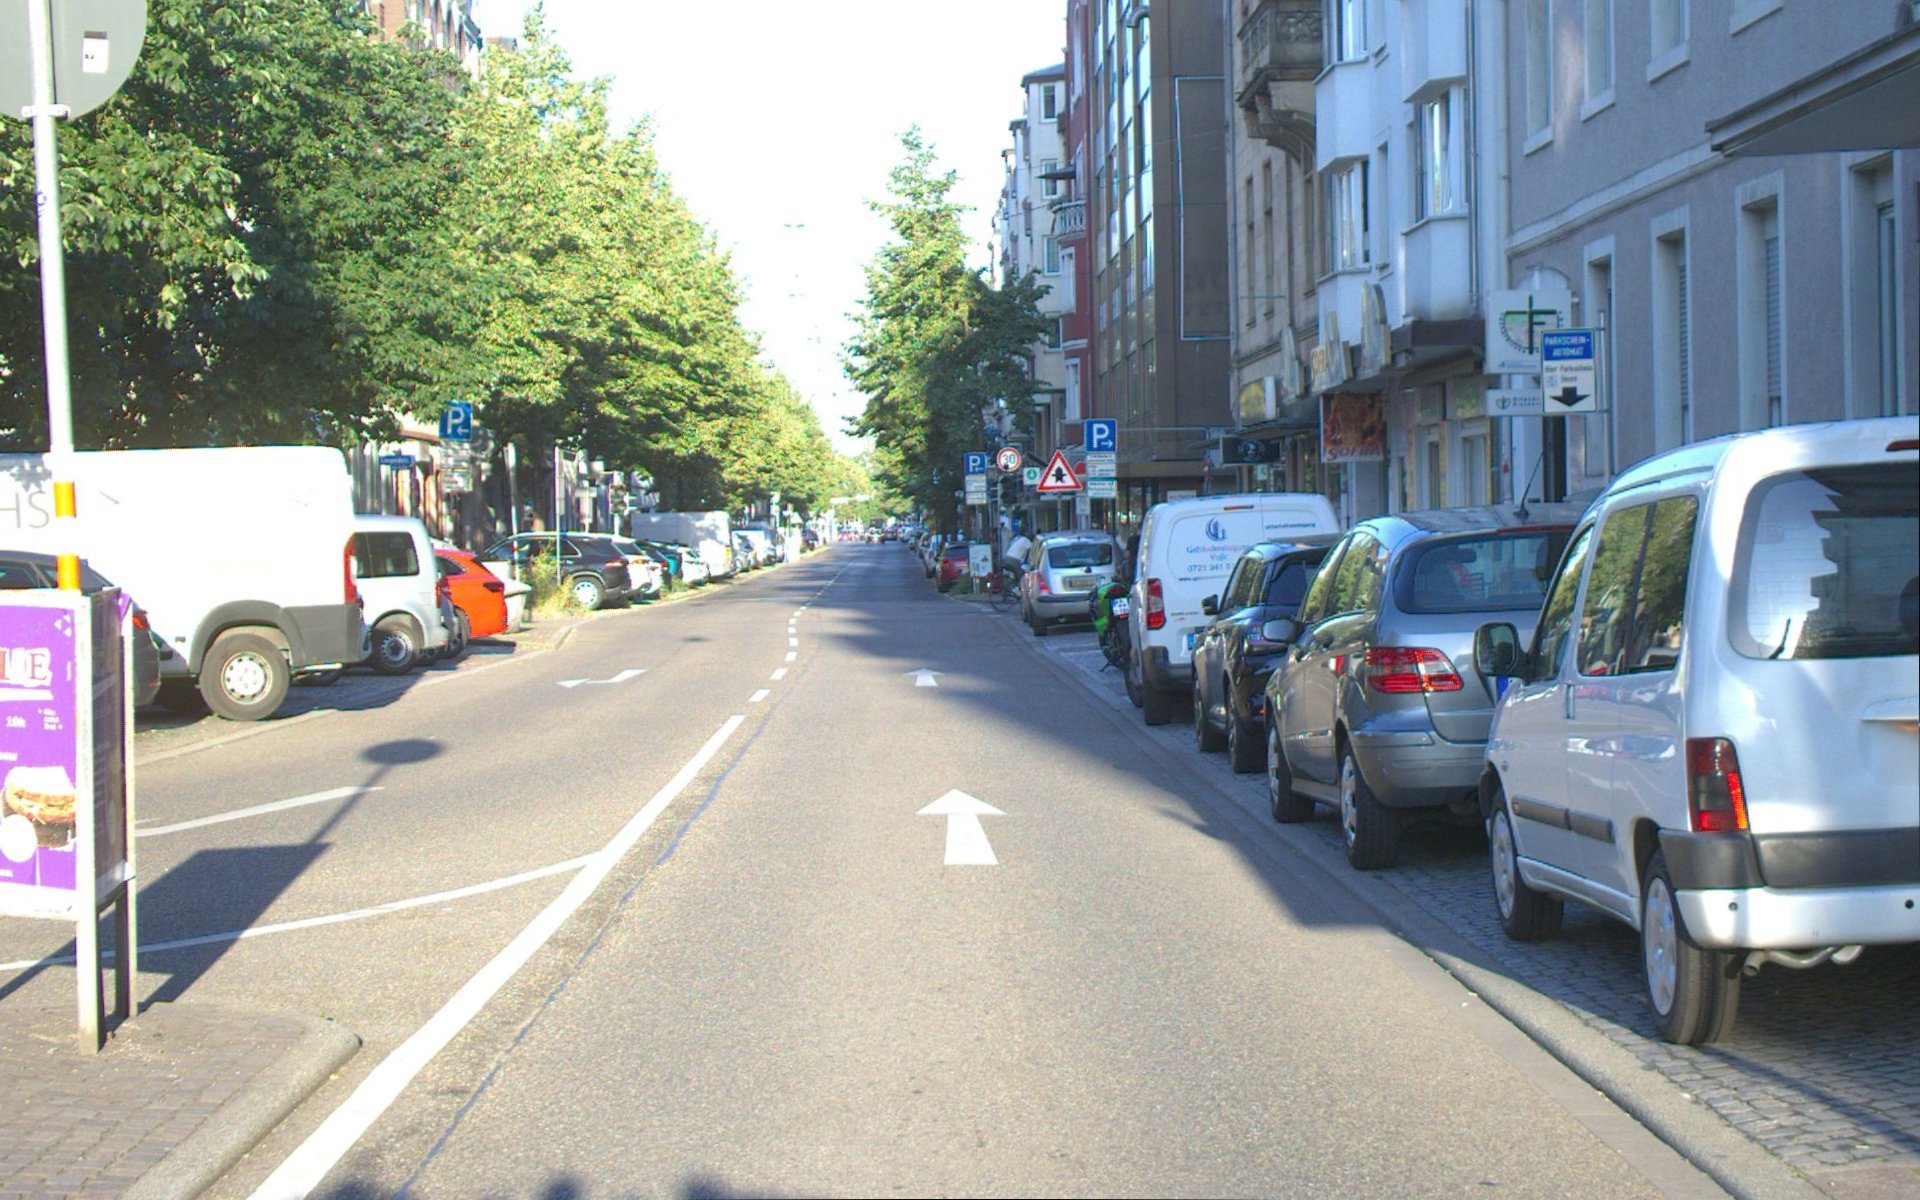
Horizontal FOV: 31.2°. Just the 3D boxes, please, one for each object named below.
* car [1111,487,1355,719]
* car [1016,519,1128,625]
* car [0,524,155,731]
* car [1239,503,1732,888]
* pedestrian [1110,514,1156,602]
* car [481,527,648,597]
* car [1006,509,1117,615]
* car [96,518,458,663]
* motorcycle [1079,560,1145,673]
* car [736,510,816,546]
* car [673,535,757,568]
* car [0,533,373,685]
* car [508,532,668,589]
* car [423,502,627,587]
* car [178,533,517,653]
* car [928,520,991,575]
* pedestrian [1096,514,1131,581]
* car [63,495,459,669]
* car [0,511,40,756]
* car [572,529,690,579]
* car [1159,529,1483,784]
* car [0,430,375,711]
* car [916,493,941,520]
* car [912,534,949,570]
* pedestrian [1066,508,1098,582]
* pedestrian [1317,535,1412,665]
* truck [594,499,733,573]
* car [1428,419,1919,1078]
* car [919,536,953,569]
[{"bbox_3d":[2.257,-0.040,29.366,1.710,1.828,4.306,0,2,0],"label":"car"},{"bbox_3d":[1.784,-0.483,55.637,1.680,1.555,4.000,-2,2,1],"label":"car"},{"bbox_3d":[-8.122,0.199,25.070,3.988,1.481,1.832,-1,2,-40],"label":"car"},{"bbox_3d":[2.436,0.361,16.887,1.656,1.659,4.108,0,1,-2],"label":"car"},{"bbox_3d":[3.270,-0.796,64.979,0.755,1.634,1.259,0,2,-2],"label":"pedestrian"},{"bbox_3d":[-9.831,-0.949,85.710,3.989,1.702,1.833,0,2,-1],"label":"car"},{"bbox_3d":[1.756,-0.694,60.551,1.696,1.763,4.001,-1,2,-2],"label":"car"},{"bbox_3d":[-8.375,-0.131,42.295,3.988,1.690,1.749,0,1,-37],"label":"car"},{"bbox_3d":[1.705,0.172,38.786,0.588,1.196,2.211,0,2,-2],"label":"motorcycle"},{"bbox_3d":[-8.804,-3.458,164.806,3.739,1.702,2.000,0,2,-1],"label":"car"},{"bbox_3d":[-11.236,-2.228,158.006,3.739,1.487,2.000,0,1,-1],"label":"car"},{"bbox_3d":[-8.288,0.061,35.506,3.988,1.487,1.849,0,1,-39],"label":"car"},{"bbox_3d":[-10.113,-1.077,93.618,4.174,1.502,2.000,0,1,-1],"label":"car"},{"bbox_3d":[-9.917,-1.279,78.697,4.448,1.828,2.034,0,4,-1],"label":"car"},{"bbox_3d":[-8.138,-0.120,45.716,3.987,1.480,2.000,-1,2,-30],"label":"car"},{"bbox_3d":[-0.038,-1.569,102.433,1.576,1.537,3.397,-3,1,-4],"label":"car"},{"bbox_3d":[3.922,-1.347,87.825,0.765,1.683,0.786,-2,2,-3],"label":"pedestrian"},{"bbox_3d":[-7.905,-0.246,39.004,3.988,1.871,1.871,-1,2,-37],"label":"car"},{"bbox_3d":[-8.055,0.208,21.851,3.872,1.577,1.802,0,1,-36],"label":"car"},{"bbox_3d":[-10.855,-1.521,113.509,3.739,1.590,2.000,0,1,-1],"label":"car"},{"bbox_3d":[2.339,0.311,23.145,1.667,1.539,3.883,0,2,-1],"label":"car"},{"bbox_3d":[-7.457,-0.260,28.755,4.598,2.243,2.203,0,1,-28],"label":"car"},{"bbox_3d":[-1.889,-5.579,205.095,1.308,1.594,2.661,0,1,-4],"label":"car"},{"bbox_3d":[-1.107,-1.797,128.062,1.206,1.296,2.661,0,1,-4],"label":"car"},{"bbox_3d":[3.124,-1.401,87.792,0.714,1.859,0.680,-1,2,-4],"label":"pedestrian"},{"bbox_3d":[4.714,-0.009,40.123,0.955,1.481,0.992,0,1,-1],"label":"pedestrian"},{"bbox_3d":[-10.764,-2.330,125.030,4.940,2.606,2.000,0,1,-1],"label":"truck"},{"bbox_3d":[2.773,0.356,11.412,1.792,1.785,4.092,-1,1,-1],"label":"car"},{"bbox_3d":[-0.946,-1.862,134.520,1.206,1.296,2.661,0,1,-4],"label":"car"}]
